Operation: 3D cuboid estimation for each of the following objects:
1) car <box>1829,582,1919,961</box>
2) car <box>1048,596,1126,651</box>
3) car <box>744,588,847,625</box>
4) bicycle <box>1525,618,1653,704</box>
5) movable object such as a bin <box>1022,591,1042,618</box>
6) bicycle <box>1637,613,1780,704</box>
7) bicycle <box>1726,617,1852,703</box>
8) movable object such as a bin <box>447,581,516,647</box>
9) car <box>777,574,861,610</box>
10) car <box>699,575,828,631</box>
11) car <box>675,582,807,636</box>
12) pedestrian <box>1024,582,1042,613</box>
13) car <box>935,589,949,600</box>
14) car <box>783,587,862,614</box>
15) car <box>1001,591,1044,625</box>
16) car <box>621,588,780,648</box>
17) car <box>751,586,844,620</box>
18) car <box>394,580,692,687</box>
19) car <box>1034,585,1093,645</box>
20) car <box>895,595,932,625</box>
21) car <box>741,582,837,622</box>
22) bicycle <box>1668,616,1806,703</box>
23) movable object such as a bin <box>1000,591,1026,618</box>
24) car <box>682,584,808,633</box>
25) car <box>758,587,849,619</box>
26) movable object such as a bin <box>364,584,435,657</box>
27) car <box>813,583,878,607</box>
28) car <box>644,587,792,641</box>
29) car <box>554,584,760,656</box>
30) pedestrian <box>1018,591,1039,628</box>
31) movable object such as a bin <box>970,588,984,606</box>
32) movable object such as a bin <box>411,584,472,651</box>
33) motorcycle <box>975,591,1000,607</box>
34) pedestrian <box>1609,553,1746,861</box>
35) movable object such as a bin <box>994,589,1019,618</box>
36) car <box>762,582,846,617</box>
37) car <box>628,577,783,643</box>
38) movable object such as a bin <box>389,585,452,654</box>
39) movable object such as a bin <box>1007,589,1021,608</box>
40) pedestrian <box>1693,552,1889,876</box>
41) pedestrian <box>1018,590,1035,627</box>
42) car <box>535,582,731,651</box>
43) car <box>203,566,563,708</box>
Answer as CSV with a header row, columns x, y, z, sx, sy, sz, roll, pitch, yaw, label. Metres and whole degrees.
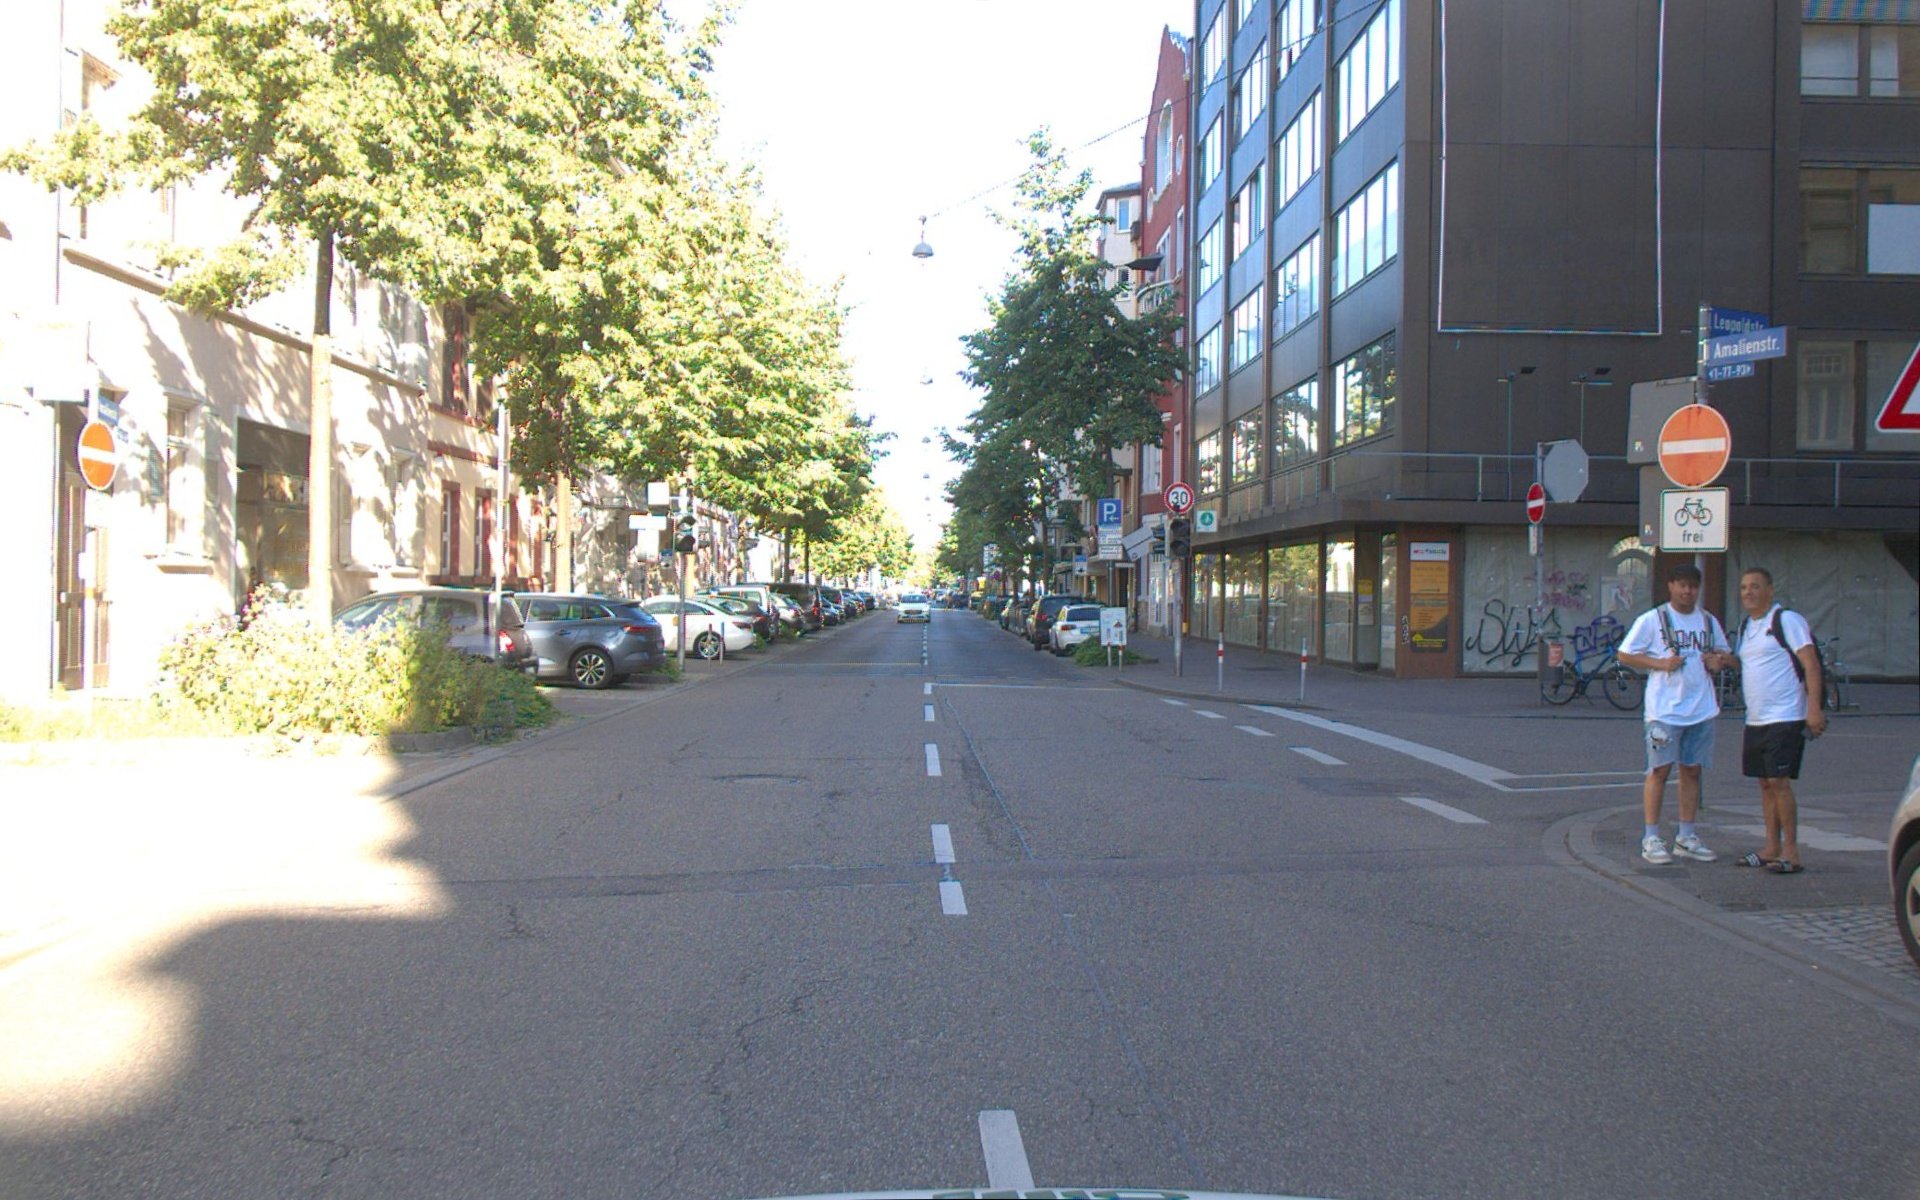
x,y,z,sx,sy,sz,roll,pitch,yaw,label
5.045,0.711,5.622,1.933,1.601,4.126,-2,0,-1,car
3.600,0.635,47.650,1.785,1.427,4.841,-2,0,0,car
-7.412,0.285,74.780,4.374,1.568,1.917,1,0,1,car
9.336,0.882,24.609,0.568,1.182,1.720,0,1,-40,bicycle
3.946,0.228,90.768,1.055,1.456,1.295,0,0,-1,movable object such as a bin
11.347,0.858,25.154,0.565,1.181,1.999,0,4,-29,bicycle
12.855,0.911,25.693,0.564,1.152,1.732,1,3,-26,bicycle
-10.953,0.320,37.896,1.110,1.470,1.382,1,0,2,movable object such as a bin
-8.003,-0.464,94.162,4.584,1.984,1.917,1,0,0,car
-7.244,0.114,61.345,4.479,1.960,1.930,1,0,1,car
-7.417,0.298,56.337,4.253,1.764,1.915,1,0,-3,car
4.589,-0.154,104.000,0.906,1.969,0.761,0,0,24,pedestrian
-2.400,-0.767,220.213,1.756,1.436,3.999,0,1,-1,car
-8.085,0.008,97.473,4.551,1.484,1.683,1,0,-1,car
2.978,0.347,79.856,1.785,1.497,4.911,-2,0,-1,car
-7.298,0.499,46.372,4.264,1.571,1.958,1,0,-13,car
-8.002,0.136,81.719,4.376,1.568,1.916,1,0,-2,car
-6.610,0.511,26.584,4.250,1.571,1.945,1,0,1,car
3.349,0.437,54.074,1.784,1.808,4.932,-2,0,3,car
-2.534,0.528,90.472,1.871,1.571,4.354,1,0,0,car
-7.943,0.098,76.971,4.251,1.739,1.916,1,0,-1,car
11.940,0.887,25.471,0.565,1.152,1.909,0,3,-29,bicycle
2.820,0.237,88.397,1.370,1.479,1.146,0,0,-1,movable object such as a bin
-7.602,0.289,58.756,4.253,1.623,1.915,1,0,-3,car
-7.958,0.137,84.476,4.373,1.568,1.917,1,0,2,car
-11.024,0.400,32.565,0.890,1.391,1.261,1,0,2,movable object such as a bin
-8.350,-0.369,121.147,4.584,1.723,1.808,1,0,0,car
-7.546,0.422,51.814,4.248,1.571,1.917,1,0,3,car
-7.127,0.481,39.310,4.608,1.518,1.997,2,-1,-6,car
2.878,0.399,69.789,0.733,1.563,0.808,0,0,13,pedestrian
1.538,-0.272,148.918,1.118,1.589,1.460,0,0,7,movable object such as a bin
-11.008,0.366,35.172,0.800,1.386,1.346,1,0,2,movable object such as a bin
2.323,-0.104,138.599,1.943,1.353,0.909,0,1,-14,motorcycle
4.290,0.608,9.918,0.678,1.749,0.895,-2,0,23,pedestrian
2.551,0.194,90.734,1.303,1.569,1.146,0,0,-1,movable object such as a bin
-8.588,-0.037,91.205,4.374,1.803,1.917,1,0,0,car
-7.519,0.290,49.090,4.250,1.856,1.930,1,0,1,car
-11.035,0.386,33.847,0.812,1.379,1.249,1,0,2,movable object such as a bin
4.788,-0.124,146.420,1.181,1.656,1.497,0,0,-3,movable object such as a bin
4.743,0.618,9.462,0.687,1.749,0.690,-2,0,-24,pedestrian
2.863,0.360,71.102,0.637,1.563,0.979,0,0,-3,pedestrian
-8.154,0.399,41.646,4.608,1.518,1.998,2,1,-6,car
-7.327,0.448,21.295,3.905,1.668,1.945,1,0,1,car
